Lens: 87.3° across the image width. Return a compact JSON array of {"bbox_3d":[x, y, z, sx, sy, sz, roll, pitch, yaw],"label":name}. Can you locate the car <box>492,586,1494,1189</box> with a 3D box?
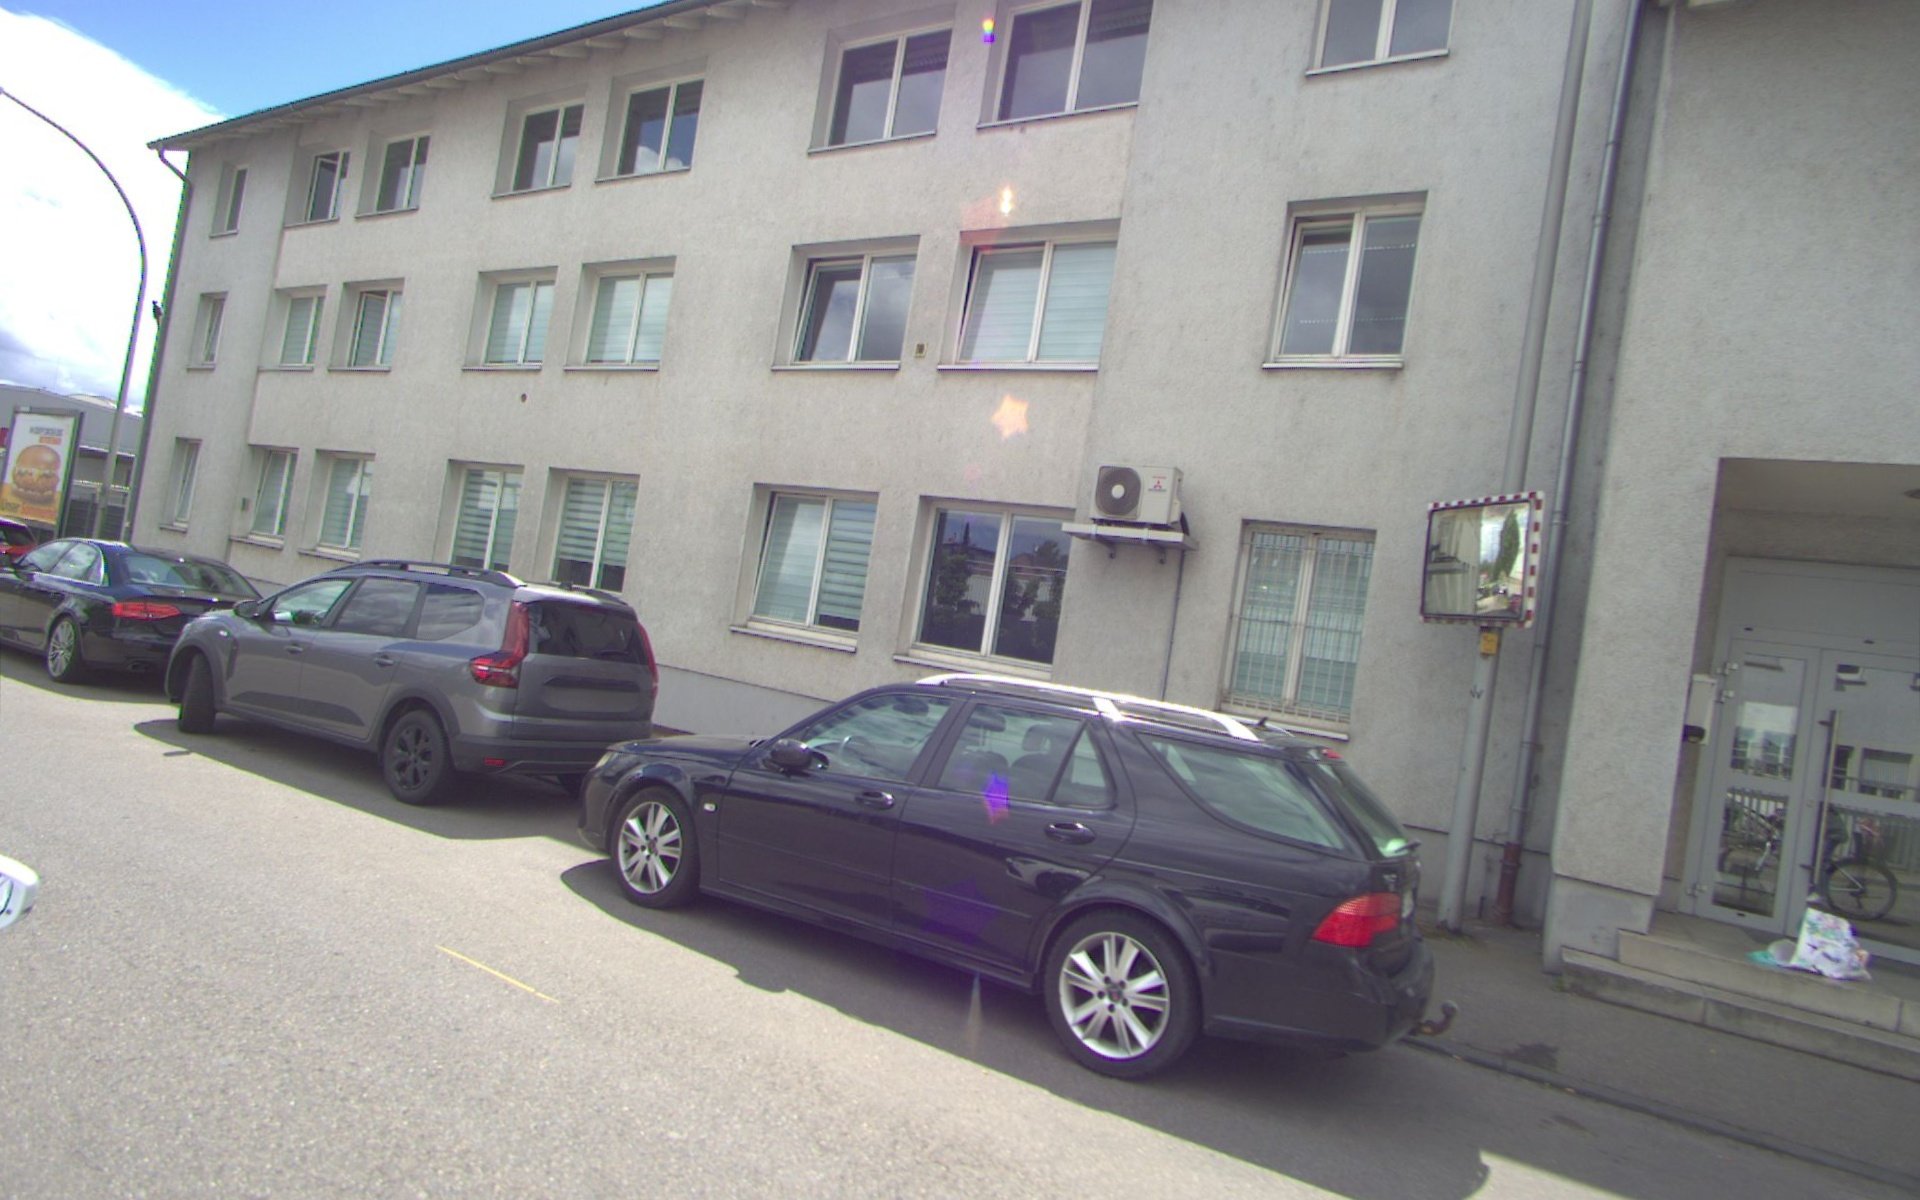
[{"bbox_3d":[-0.061,1.072,5.392,5.001,1.525,1.711,7,-5,30],"label":"car"}]

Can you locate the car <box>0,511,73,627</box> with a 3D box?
[{"bbox_3d":[-14.875,-0.681,14.585,4.190,1.488,1.740,7,-3,32],"label":"car"}]

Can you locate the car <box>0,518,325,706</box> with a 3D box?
[{"bbox_3d":[-9.302,0.038,11.082,4.778,1.439,1.741,7,-4,30],"label":"car"}]

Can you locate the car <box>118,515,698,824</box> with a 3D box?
[{"bbox_3d":[-4.662,0.472,8.335,4.712,1.655,1.684,7,-4,28],"label":"car"}]
